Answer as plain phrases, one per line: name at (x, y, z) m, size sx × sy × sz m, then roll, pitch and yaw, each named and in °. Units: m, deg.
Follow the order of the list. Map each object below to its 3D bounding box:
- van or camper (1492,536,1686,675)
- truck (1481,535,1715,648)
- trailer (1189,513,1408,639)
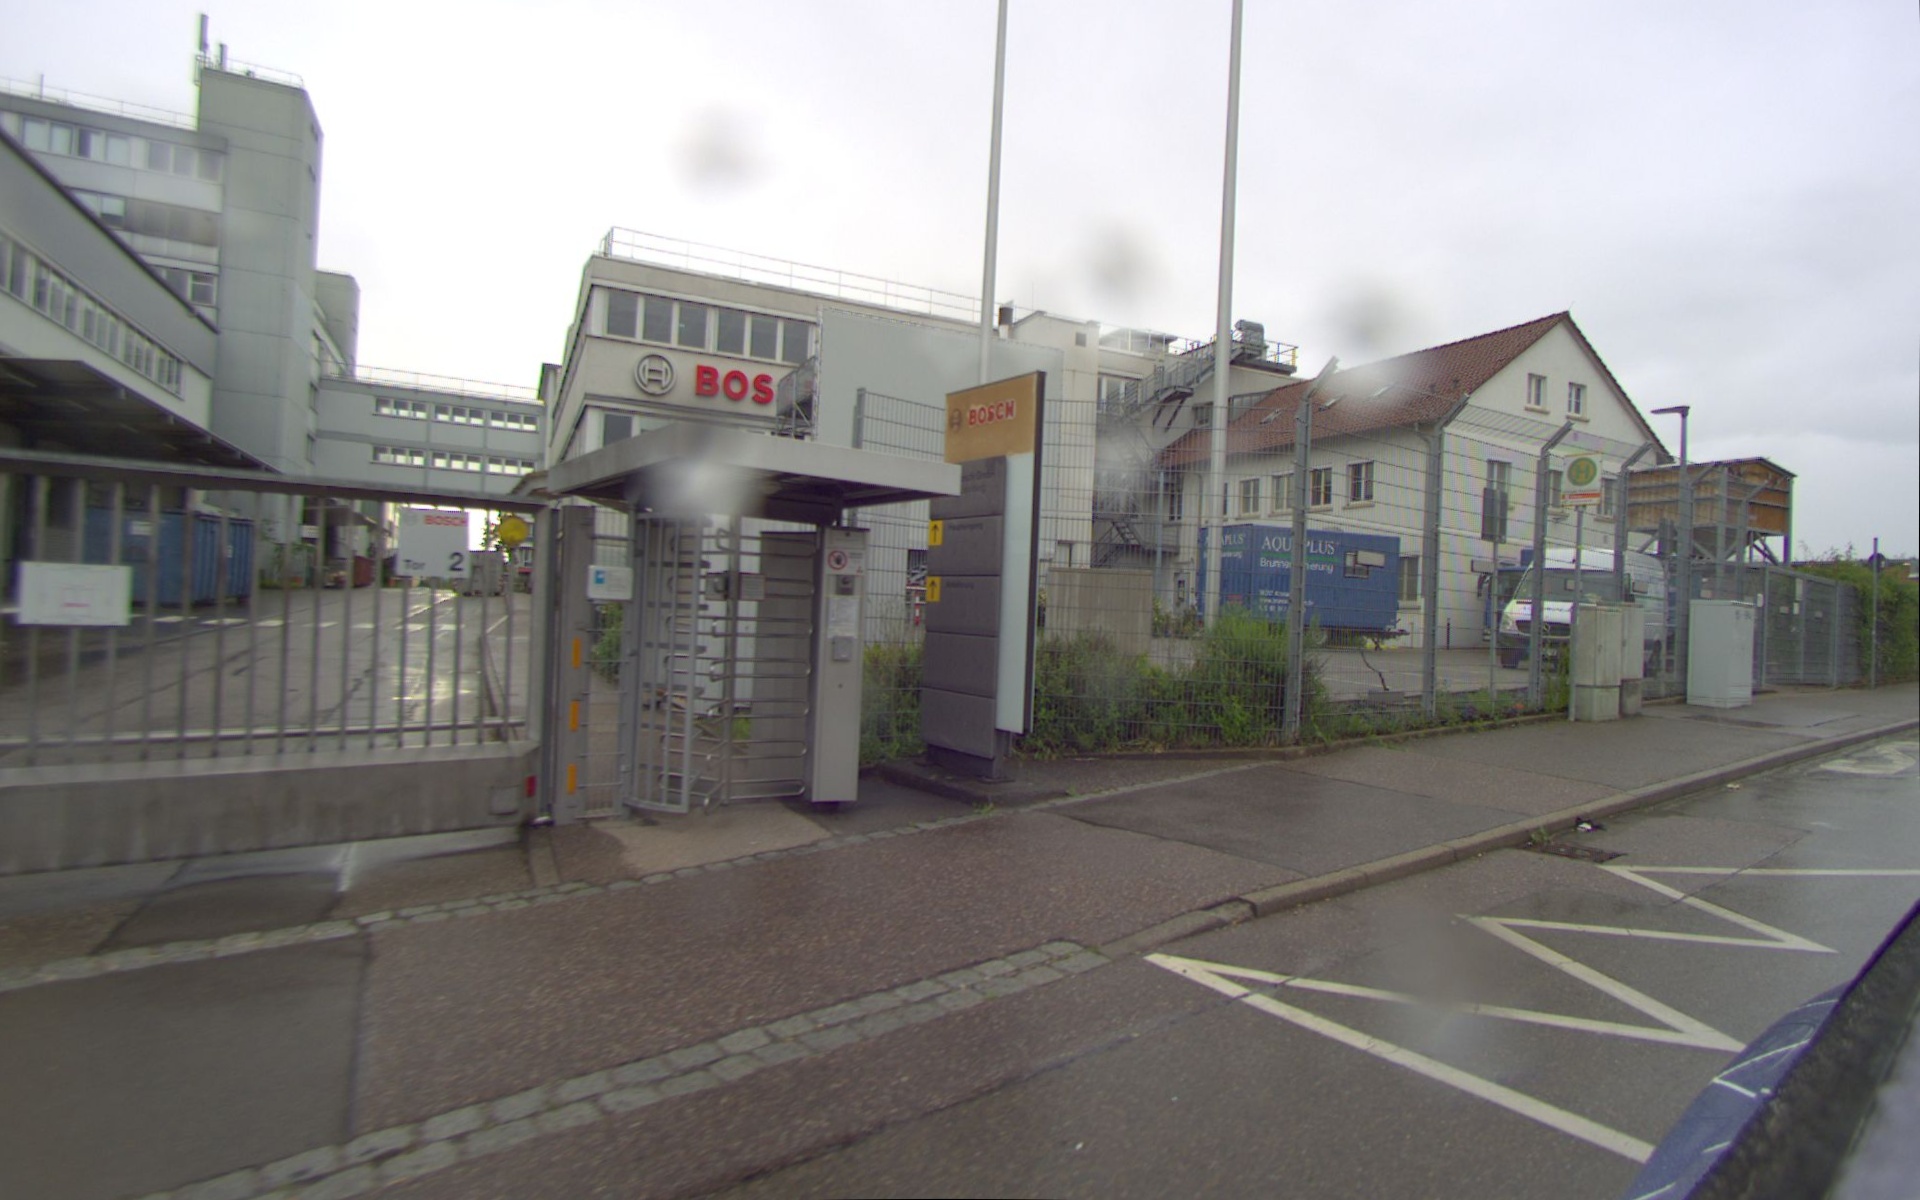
van or camper at (13.333, 0.073, 21.259) m, size 5.709 × 2.526 × 2.086 m, roll 1°, pitch 2°, yaw -44°
truck at (18.694, -0.206, 29.572) m, size 6.983 × 3.006 × 2.332 m, roll 1°, pitch 1°, yaw -25°
trailer at (8.512, -0.555, 25.586) m, size 4.534 × 2.929 × 2.641 m, roll -1°, pitch -1°, yaw -21°
